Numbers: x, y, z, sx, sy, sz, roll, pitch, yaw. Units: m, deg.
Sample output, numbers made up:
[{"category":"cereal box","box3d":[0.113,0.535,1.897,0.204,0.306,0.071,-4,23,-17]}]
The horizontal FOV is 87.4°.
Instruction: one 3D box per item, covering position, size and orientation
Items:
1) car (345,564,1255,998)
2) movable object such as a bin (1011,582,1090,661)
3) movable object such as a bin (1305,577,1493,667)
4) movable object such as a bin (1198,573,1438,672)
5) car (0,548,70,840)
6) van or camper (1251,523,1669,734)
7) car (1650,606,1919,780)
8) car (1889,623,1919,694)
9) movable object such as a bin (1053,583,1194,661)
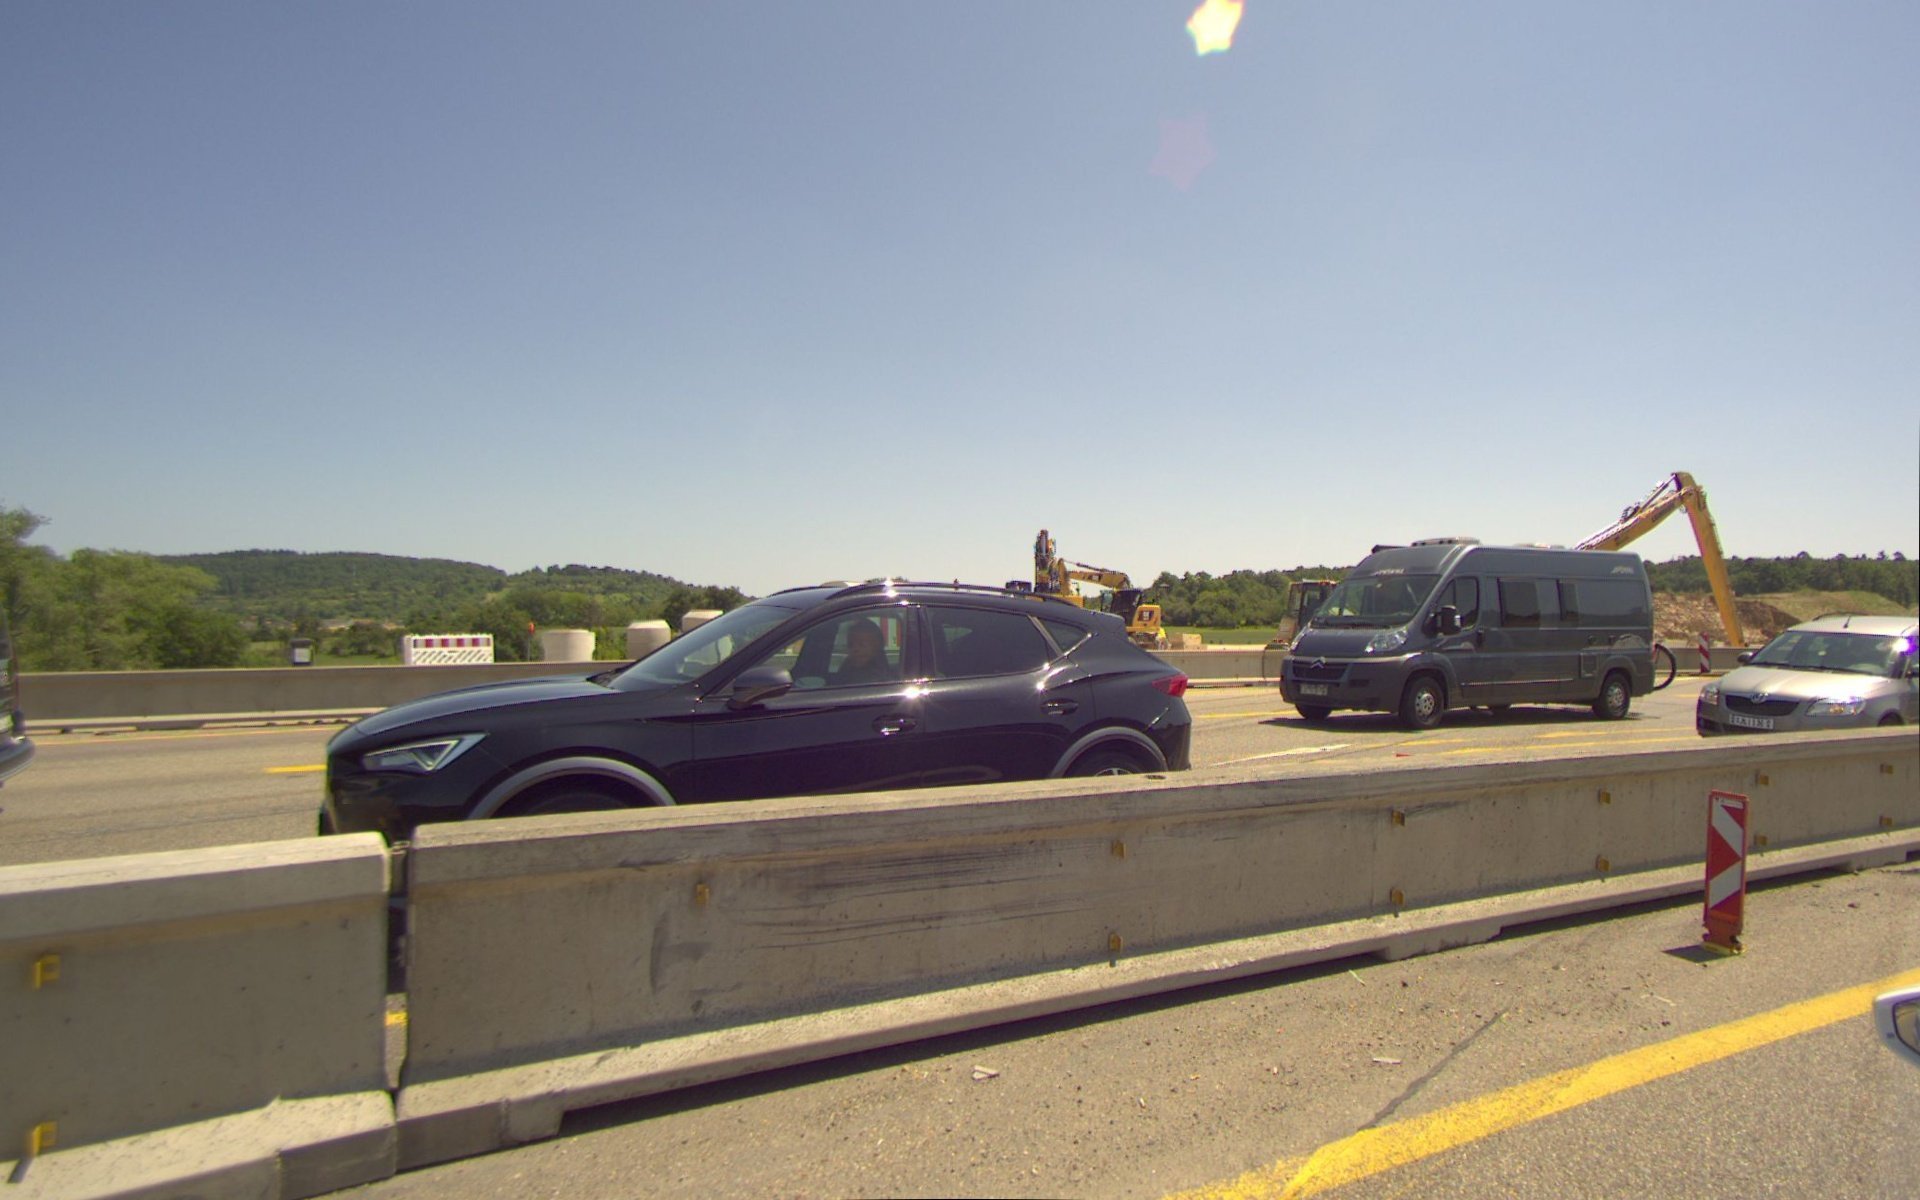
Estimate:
[{"category":"car","box3d":[-0.638,0.680,5.342,4.418,1.501,1.681,1,-2,-31]},{"category":"movable object such as a bin","box3d":[3.470,0.754,38.440,2.822,2.764,3.363,2,1,6]},{"category":"movable object such as a bin","box3d":[15.217,0.670,35.353,2.766,2.800,6.047,1,2,-16]},{"category":"movable object such as a bin","box3d":[10.421,0.505,30.493,3.649,2.465,7.919,2,2,-7]},{"category":"car","box3d":[-8.246,0.568,5.608,4.661,1.788,1.764,1,-2,-34]},{"category":"van or camper","box3d":[7.326,0.423,14.549,6.221,2.575,2.092,1,-2,-26]},{"category":"car","box3d":[10.075,0.941,11.374,4.168,1.637,1.753,1,1,-23]},{"category":"car","box3d":[23.194,1.346,22.399,4.590,1.522,1.988,1,2,-24]},{"category":"movable object such as a bin","box3d":[7.658,0.949,47.041,5.508,3.300,3.764,1,2,-39]}]
